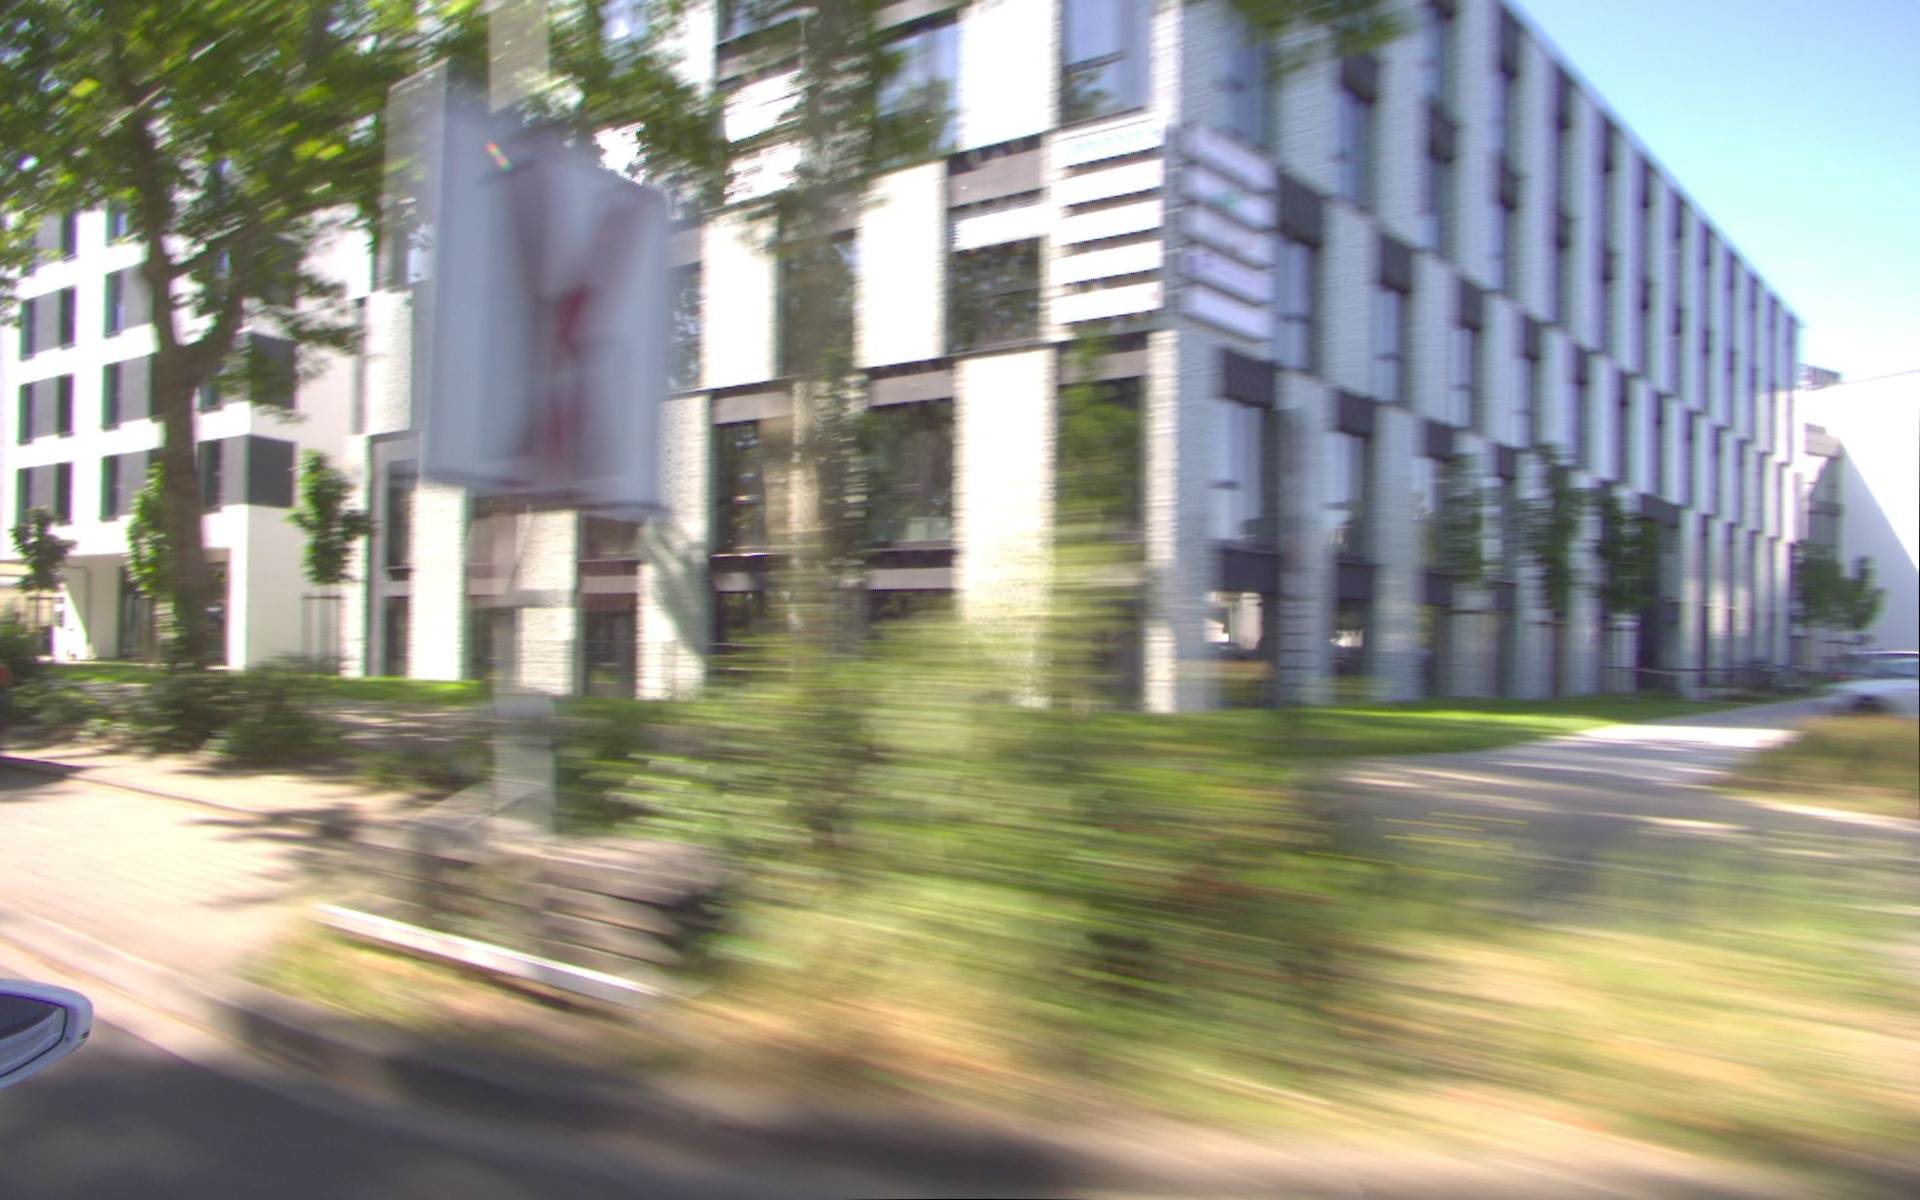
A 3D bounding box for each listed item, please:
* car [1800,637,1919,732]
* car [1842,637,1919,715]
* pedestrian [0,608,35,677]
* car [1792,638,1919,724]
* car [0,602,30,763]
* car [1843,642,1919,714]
[{"bbox_3d":[17.453,1.490,17.167,1.980,1.571,4.441,3,-2,-41],"label":"car"},{"bbox_3d":[24.383,1.873,24.173,1.980,1.875,4.441,3,-3,-41],"label":"car"},{"bbox_3d":[-22.280,1.004,23.553,0.561,1.601,0.612,0,-1,30],"label":"pedestrian"},{"bbox_3d":[18.978,1.588,19.179,1.980,1.571,4.441,3,-2,-41],"label":"car"},{"bbox_3d":[-11.333,0.784,9.856,4.644,1.507,1.706,0,-1,27],"label":"car"},{"bbox_3d":[22.638,1.776,22.177,1.980,1.571,4.441,3,-3,-41],"label":"car"}]
